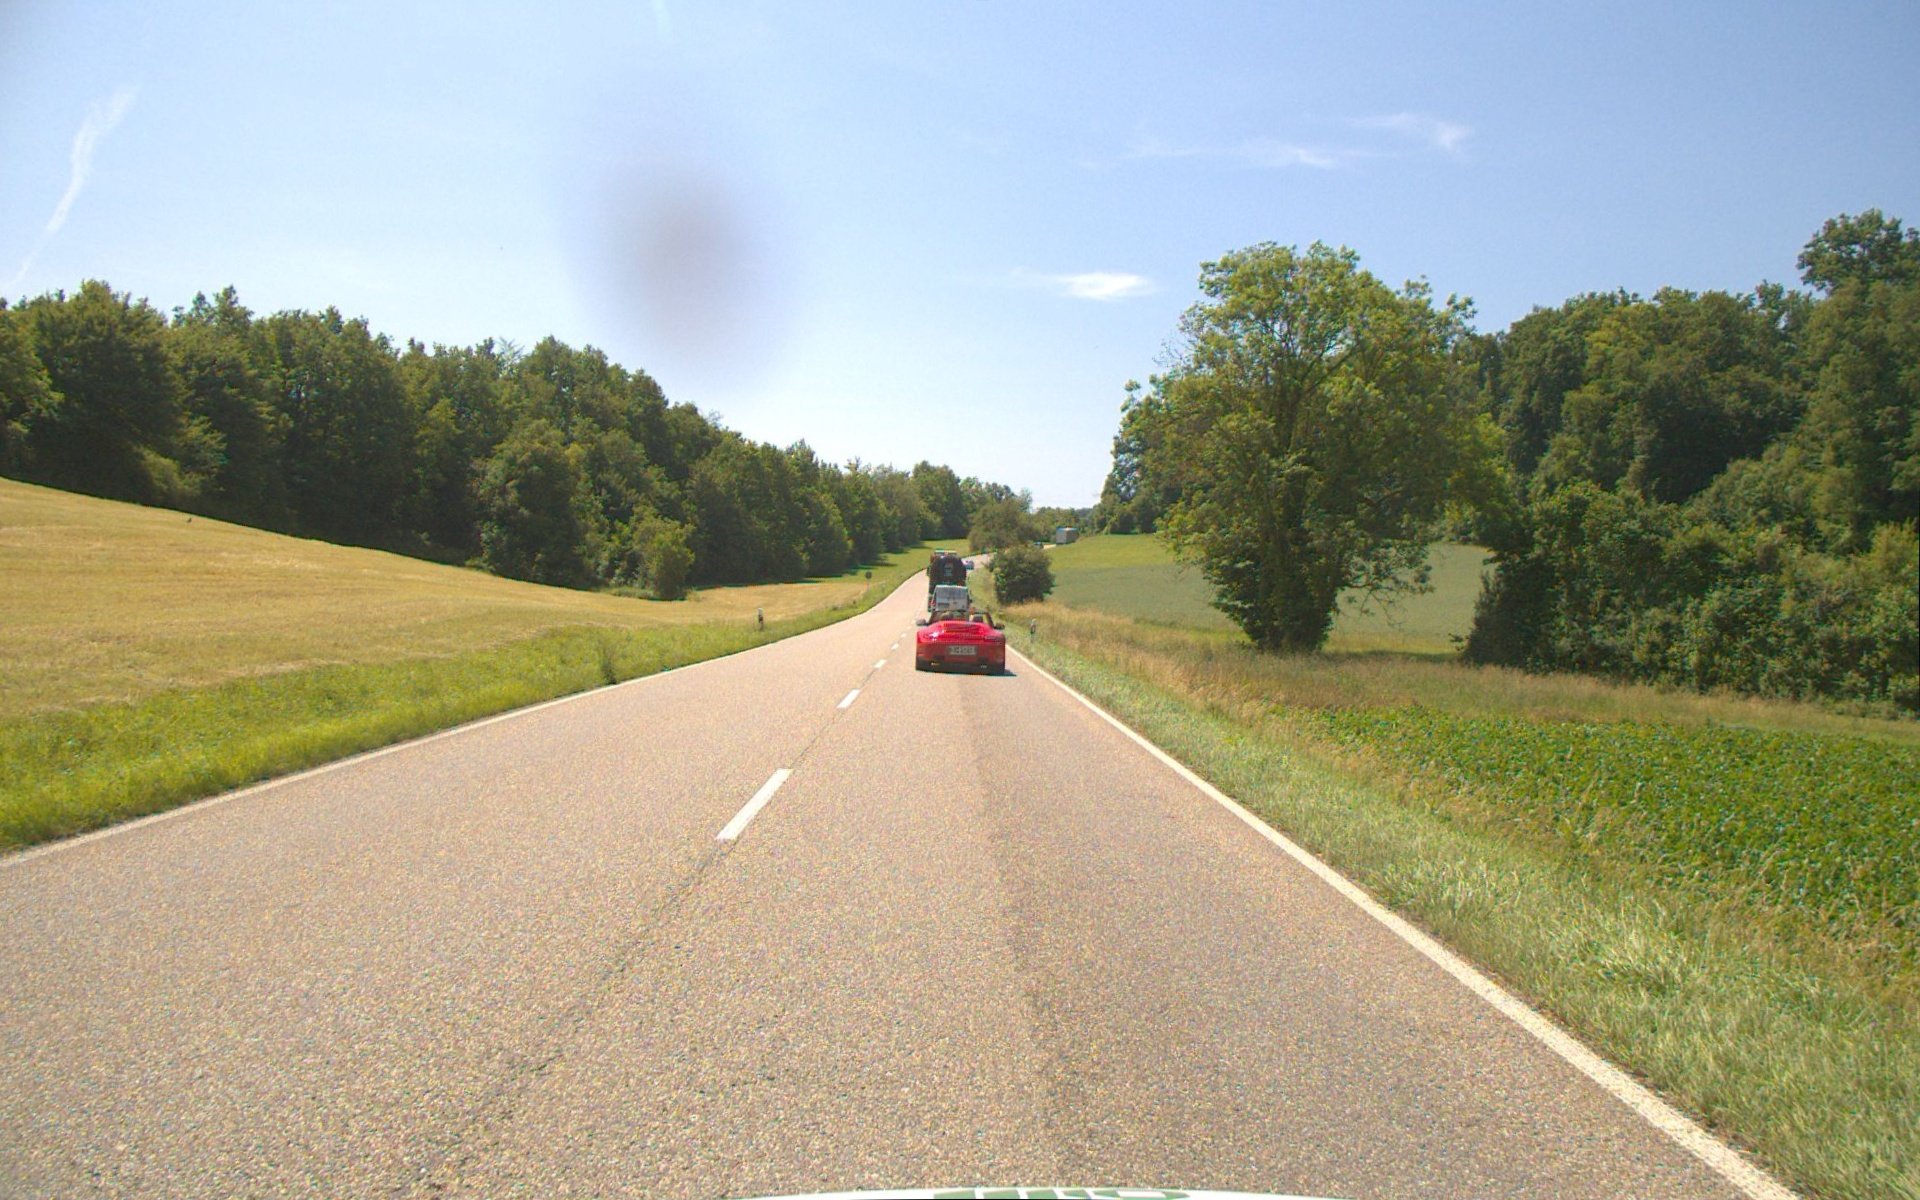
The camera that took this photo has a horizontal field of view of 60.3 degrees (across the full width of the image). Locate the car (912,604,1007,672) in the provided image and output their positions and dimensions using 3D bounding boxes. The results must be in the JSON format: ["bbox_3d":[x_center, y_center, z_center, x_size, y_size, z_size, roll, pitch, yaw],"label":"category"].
[{"bbox_3d":[-0.040,0.760,34.600,1.844,1.277,4.009,1,0,-1],"label":"car"}]

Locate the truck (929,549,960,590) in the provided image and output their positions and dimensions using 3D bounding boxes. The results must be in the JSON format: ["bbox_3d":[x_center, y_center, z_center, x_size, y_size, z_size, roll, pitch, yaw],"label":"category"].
[{"bbox_3d":[-1.832,-3.762,200.724,3.649,4.741,12.034,0,3,0],"label":"truck"}]

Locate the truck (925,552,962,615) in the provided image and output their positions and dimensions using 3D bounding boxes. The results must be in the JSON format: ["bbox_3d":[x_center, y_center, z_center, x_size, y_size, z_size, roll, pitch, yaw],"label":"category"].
[{"bbox_3d":[-1.250,-1.271,116.266,2.355,4.120,12.548,0,2,-2],"label":"truck"}]

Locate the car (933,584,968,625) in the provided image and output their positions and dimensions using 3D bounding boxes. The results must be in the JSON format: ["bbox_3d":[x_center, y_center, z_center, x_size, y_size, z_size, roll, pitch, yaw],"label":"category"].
[{"bbox_3d":[-0.452,0.210,80.158,1.644,1.934,4.009,-1,0,0],"label":"car"}]
